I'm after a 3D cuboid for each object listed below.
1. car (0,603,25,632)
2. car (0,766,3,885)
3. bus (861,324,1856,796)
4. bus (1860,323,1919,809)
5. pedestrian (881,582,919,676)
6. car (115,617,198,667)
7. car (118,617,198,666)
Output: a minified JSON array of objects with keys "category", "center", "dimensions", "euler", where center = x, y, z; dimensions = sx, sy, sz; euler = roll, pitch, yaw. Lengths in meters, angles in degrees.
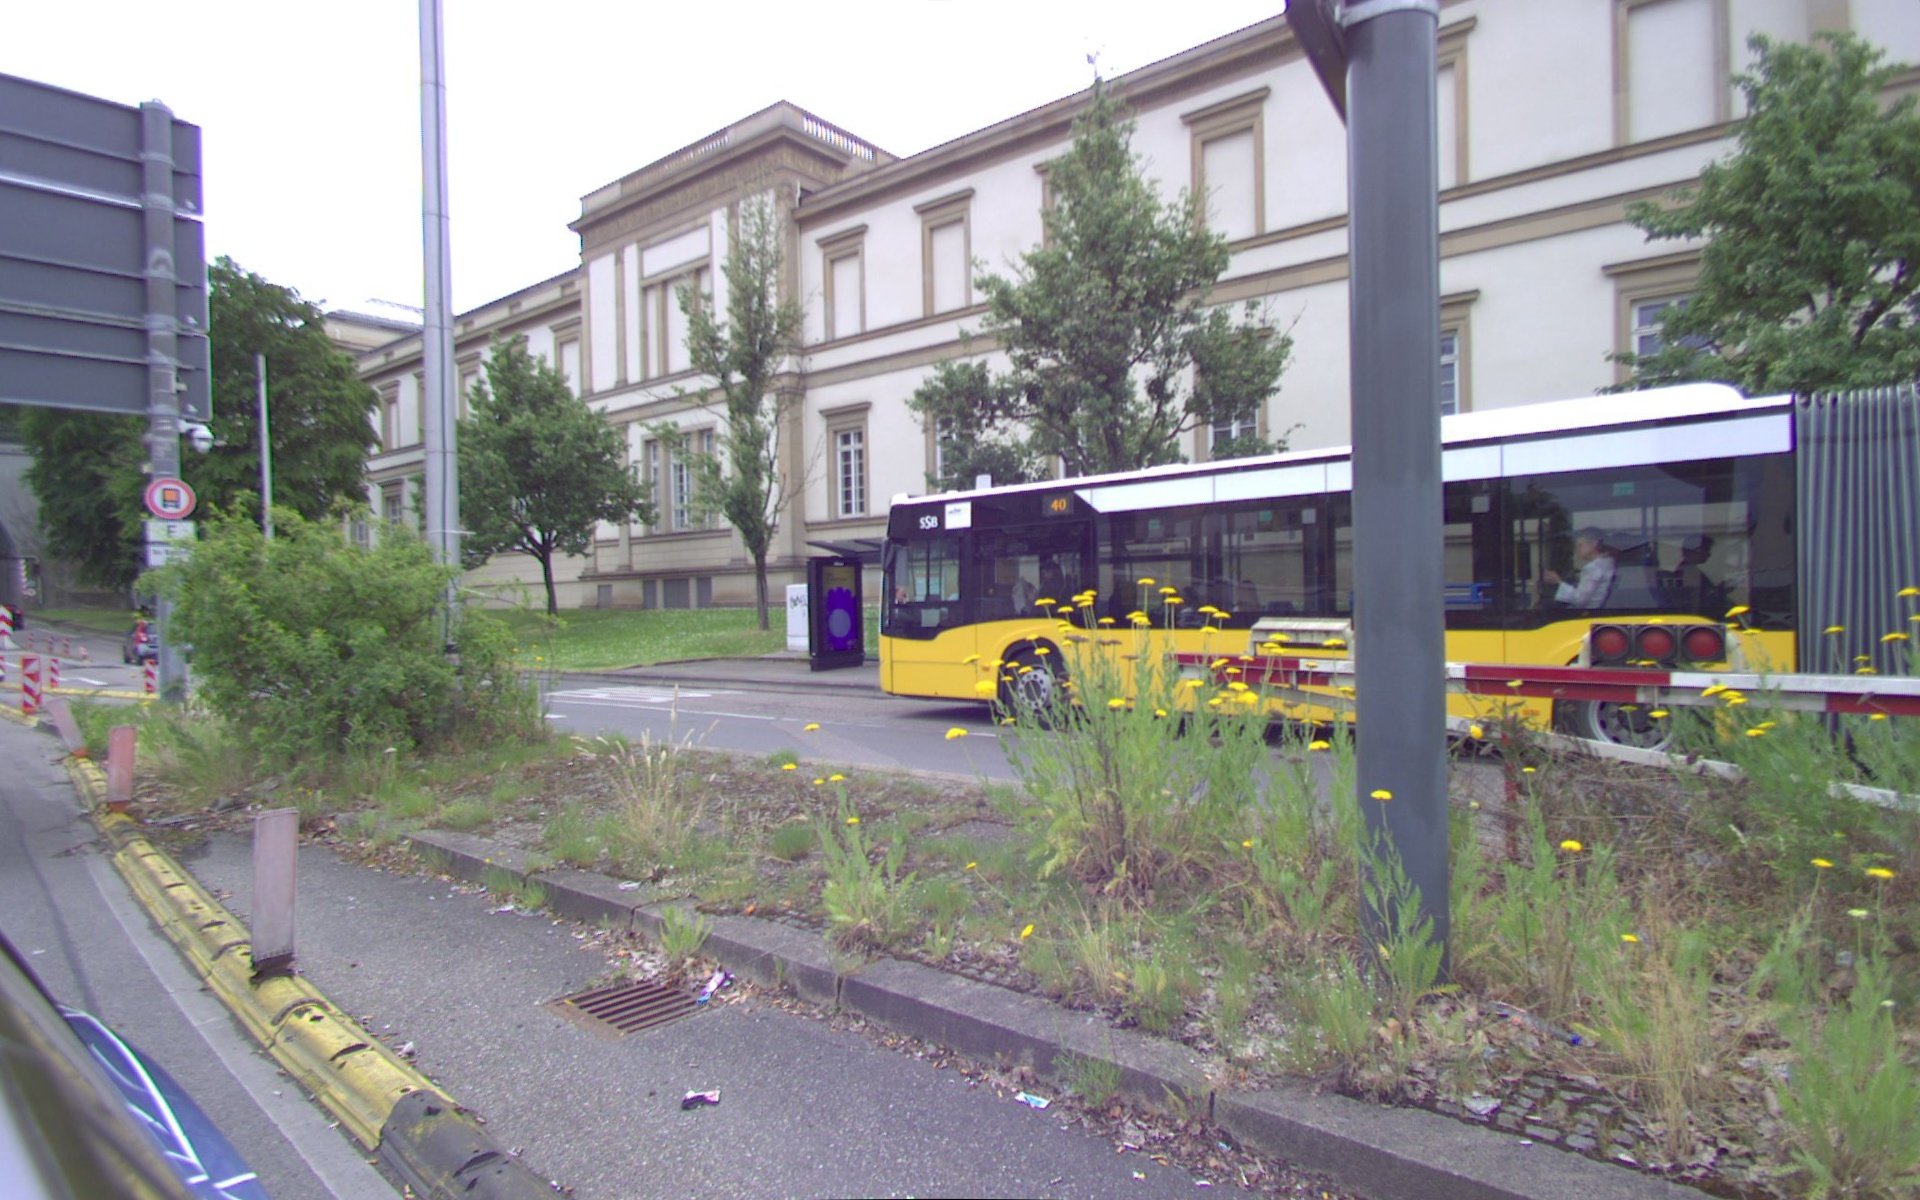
[{"category":"car","center":[-54.791,0.994,57.877],"dimensions":[3.881,1.603,1.645],"euler":[-2,-1,42]},{"category":"car","center":[-7.254,0.801,6.126],"dimensions":[3.881,1.603,1.824],"euler":[-2,0,42]},{"category":"bus","center":[3.242,-0.203,11.083],"dimensions":[9.748,3.137,2.815],"euler":[-1,0,43]},{"category":"bus","center":[10.304,-0.326,4.679],"dimensions":[9.120,3.137,2.815],"euler":[-1,0,42]},{"category":"pedestrian","center":[-1.105,0.530,18.720],"dimensions":[0.578,1.708,0.460],"euler":[-1,0,-15]},{"category":"car","center":[-27.744,1.409,34.903],"dimensions":[3.881,1.603,1.645],"euler":[-2,-1,42]},{"category":"car","center":[-27.347,1.387,34.497],"dimensions":[2.820,1.563,1.520],"euler":[-1,-1,38]}]
